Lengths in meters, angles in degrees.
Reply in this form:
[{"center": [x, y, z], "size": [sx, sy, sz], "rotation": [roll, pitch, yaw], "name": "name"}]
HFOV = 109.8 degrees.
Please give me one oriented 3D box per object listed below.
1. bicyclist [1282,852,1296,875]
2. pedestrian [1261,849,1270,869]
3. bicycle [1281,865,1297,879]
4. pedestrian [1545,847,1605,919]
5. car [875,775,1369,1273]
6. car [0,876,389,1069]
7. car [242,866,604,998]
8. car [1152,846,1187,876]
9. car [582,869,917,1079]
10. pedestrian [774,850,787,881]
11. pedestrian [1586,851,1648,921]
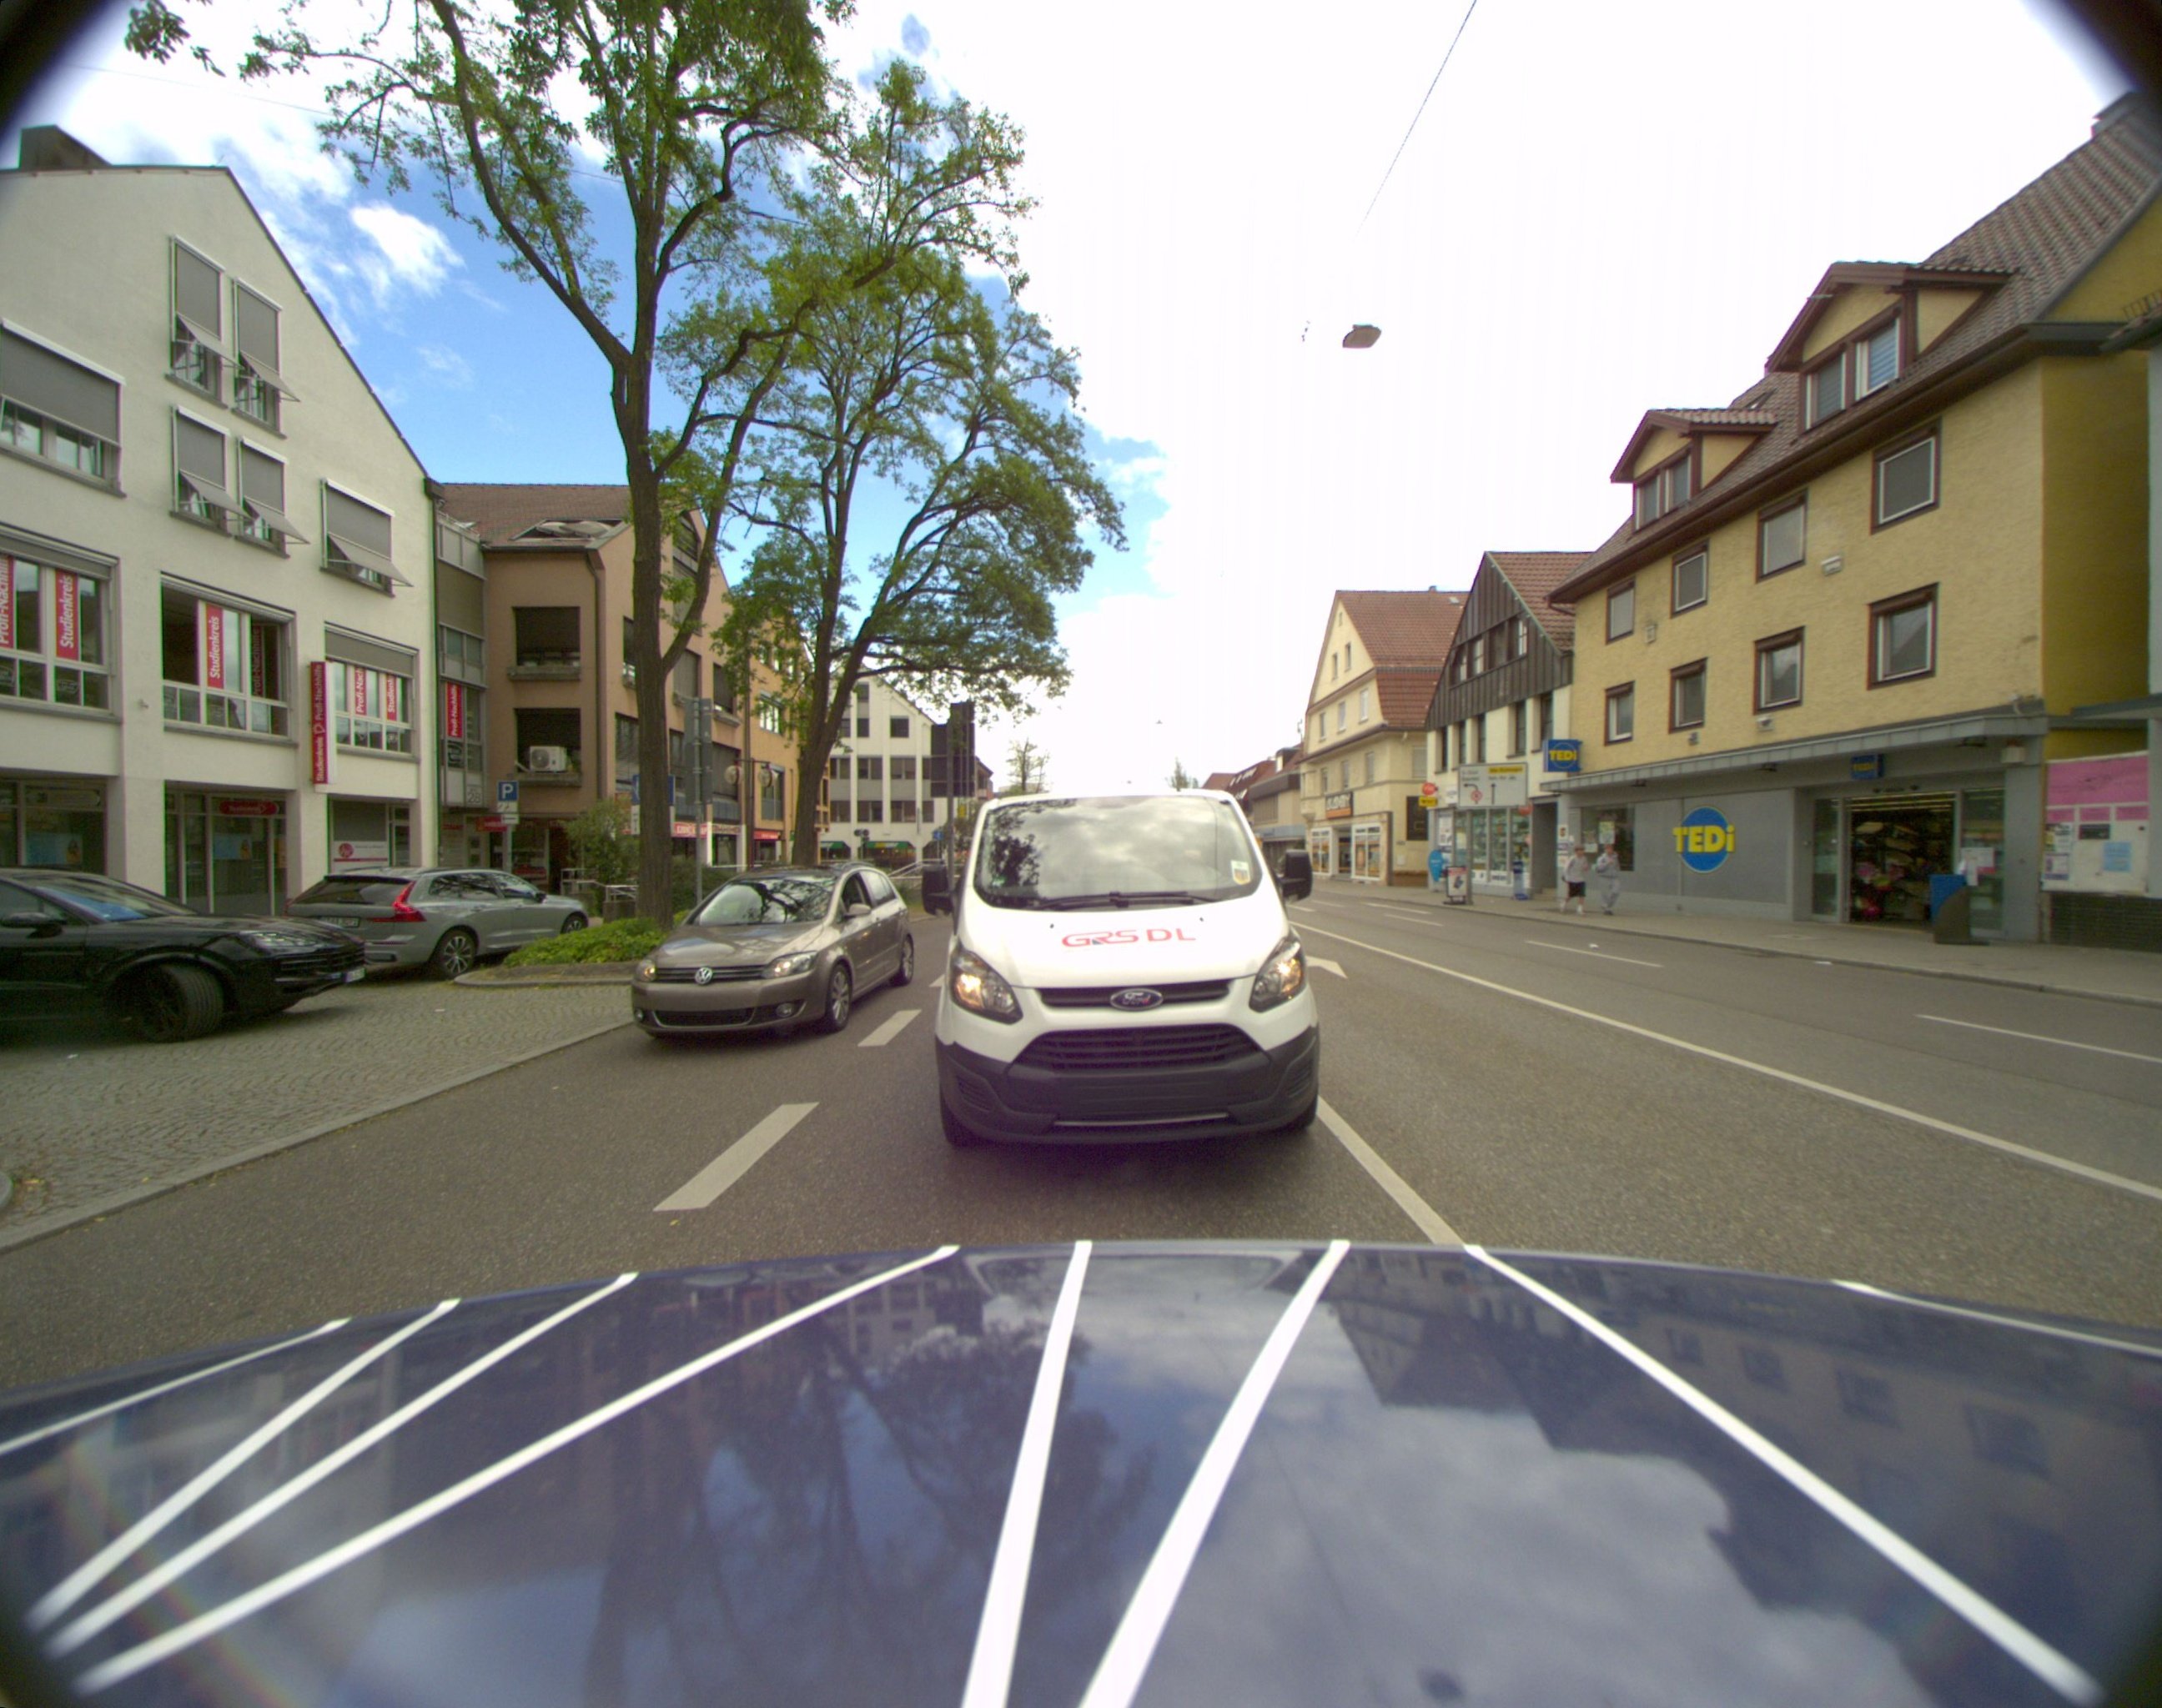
[{"center": [12.806, 0.582, 46.679], "size": [0.772, 1.415, 0.753], "rotation": [0, 1, 20], "name": "bicyclist"}, {"center": [17.065, 0.454, 70.426], "size": [0.673, 1.891, 0.678], "rotation": [0, 1, 1], "name": "pedestrian"}, {"center": [12.801, 1.078, 46.684], "size": [0.772, 0.818, 2.243], "rotation": [0, 0, 20], "name": "bicycle"}, {"center": [11.557, 0.659, 17.786], "size": [0.812, 1.651, 0.920], "rotation": [-1, 1, 1], "name": "pedestrian"}, {"center": [0.208, 0.698, 5.995], "size": [1.940, 1.968, 5.779], "rotation": [-2, 0, 1], "name": "car"}, {"center": [-10.289, 1.074, 7.481], "size": [4.761, 1.669, 1.996], "rotation": [1, -1, -27], "name": "car"}, {"center": [-10.325, 1.099, 12.589], "size": [1.999, 1.645, 4.752], "rotation": [1, 1, -3], "name": "car"}, {"center": [6.021, 0.471, 52.389], "size": [1.909, 1.931, 4.526], "rotation": [-1, 0, 0], "name": "car"}, {"center": [-3.057, 0.992, 8.040], "size": [1.802, 1.521, 3.999], "rotation": [-2, 0, -1], "name": "car"}, {"center": [-15.862, 0.583, 40.104], "size": [0.505, 1.615, 0.493], "rotation": [-1, 1, -45], "name": "pedestrian"}, {"center": [12.428, 0.723, 17.645], "size": [0.812, 1.574, 0.920], "rotation": [-1, 1, 1], "name": "pedestrian"}]
